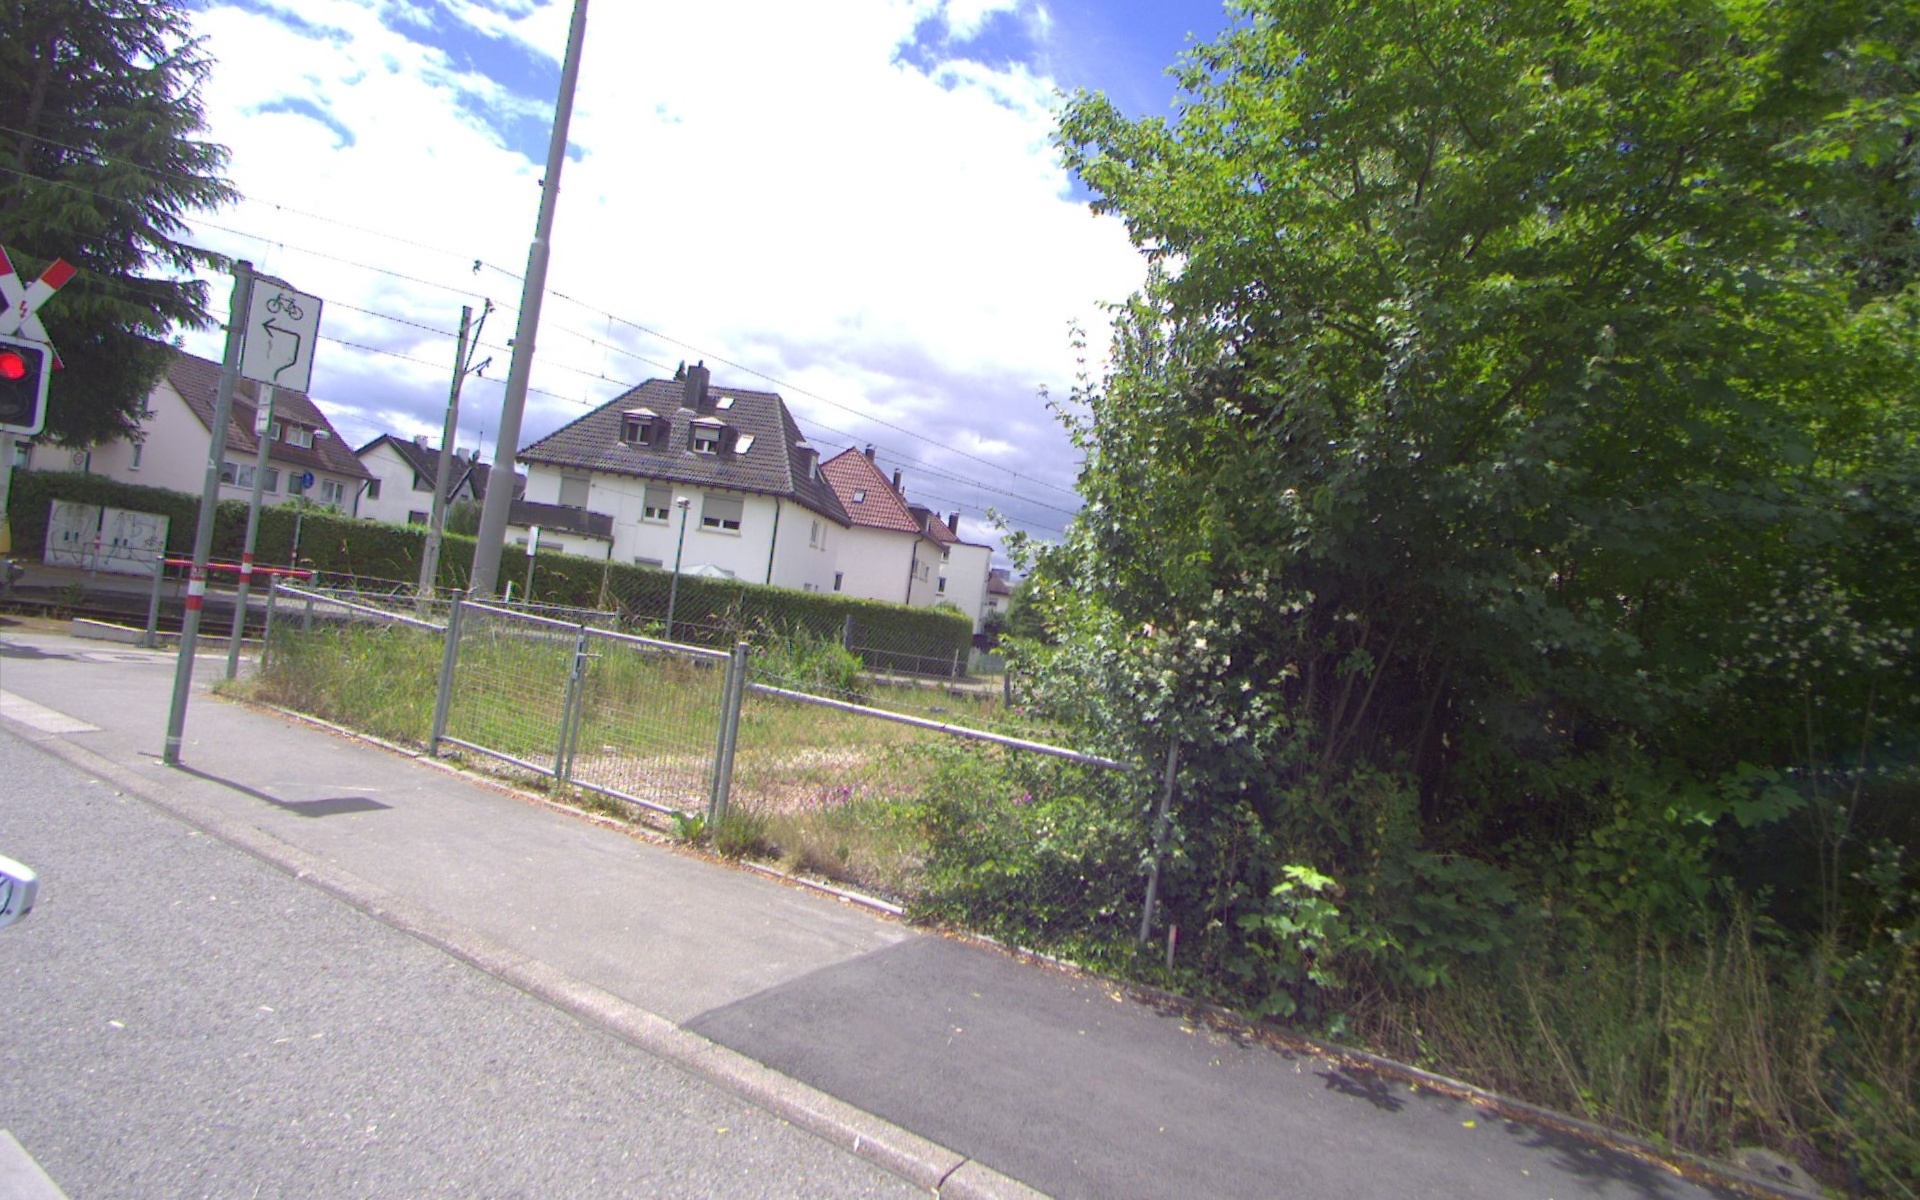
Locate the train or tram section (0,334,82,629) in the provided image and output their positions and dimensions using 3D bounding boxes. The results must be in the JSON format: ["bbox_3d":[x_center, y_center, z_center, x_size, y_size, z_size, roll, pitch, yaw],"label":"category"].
[{"bbox_3d":[-16.089,-2.127,12.111,7.655,3.762,2.842,10,-3,-36],"label":"train or tram section"}]
